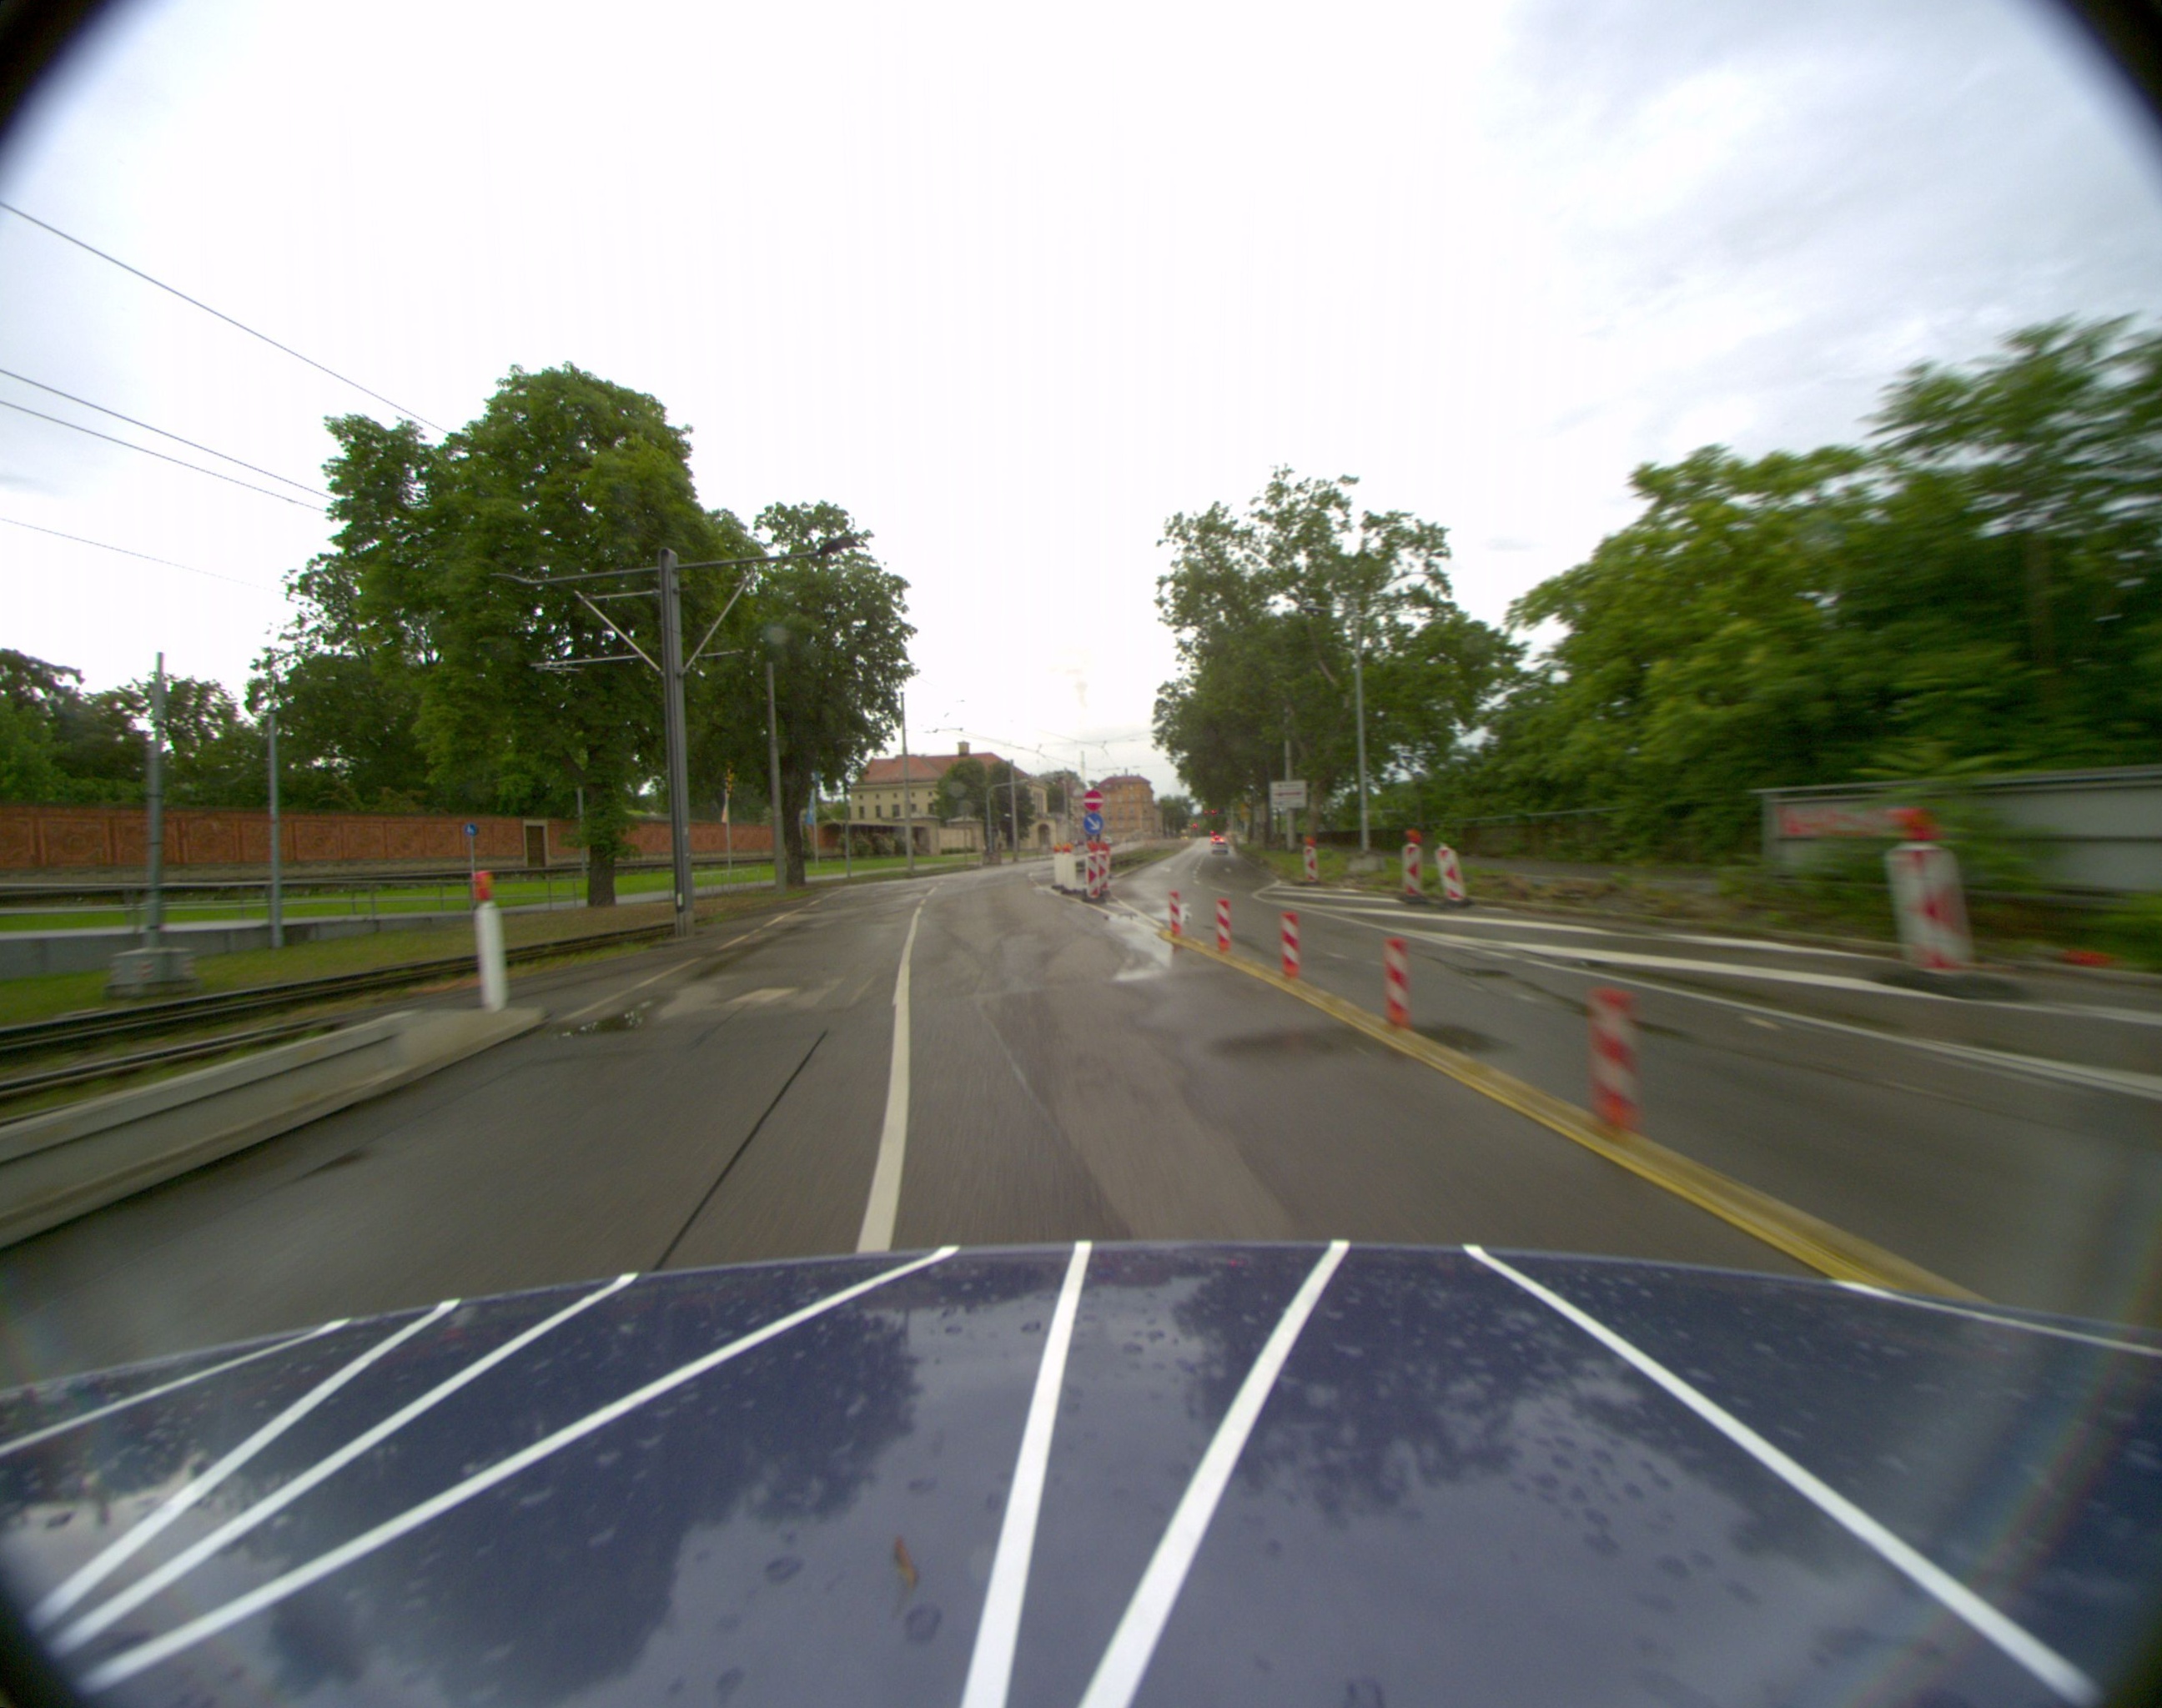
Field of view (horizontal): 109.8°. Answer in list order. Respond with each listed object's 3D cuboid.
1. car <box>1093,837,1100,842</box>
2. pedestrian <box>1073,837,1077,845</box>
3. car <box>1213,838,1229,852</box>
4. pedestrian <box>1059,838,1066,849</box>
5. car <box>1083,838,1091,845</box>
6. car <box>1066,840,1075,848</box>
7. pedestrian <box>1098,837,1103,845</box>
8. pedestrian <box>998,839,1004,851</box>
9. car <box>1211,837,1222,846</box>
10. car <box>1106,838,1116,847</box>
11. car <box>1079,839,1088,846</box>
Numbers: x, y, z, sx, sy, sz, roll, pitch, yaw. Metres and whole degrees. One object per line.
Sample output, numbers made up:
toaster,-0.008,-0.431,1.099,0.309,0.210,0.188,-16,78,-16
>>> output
car,4.661,-4.380,230.477,1.830,1.574,4.000,-2,2,4
pedestrian,-1.106,-2.441,143.353,0.628,1.635,0.780,-2,2,3
car,15.615,-0.989,84.744,1.711,1.490,4.722,0,2,10
pedestrian,-2.796,-1.523,113.377,0.863,1.582,0.669,1,2,36
car,1.564,-3.105,189.716,1.830,1.574,4.000,-2,2,4
car,-2.468,-2.393,179.377,1.863,1.540,4.065,-3,2,3
pedestrian,4.259,-2.817,164.948,0.782,1.797,0.696,-5,3,-31
pedestrian,-11.887,-1.304,112.912,0.729,1.701,0.982,-1,2,10
car,22.813,-2.162,128.143,1.749,1.422,4.562,-1,1,9
car,6.311,-2.446,159.139,1.843,1.630,4.143,-5,1,5
car,0.689,-2.635,178.815,1.830,1.574,4.000,-2,2,4
